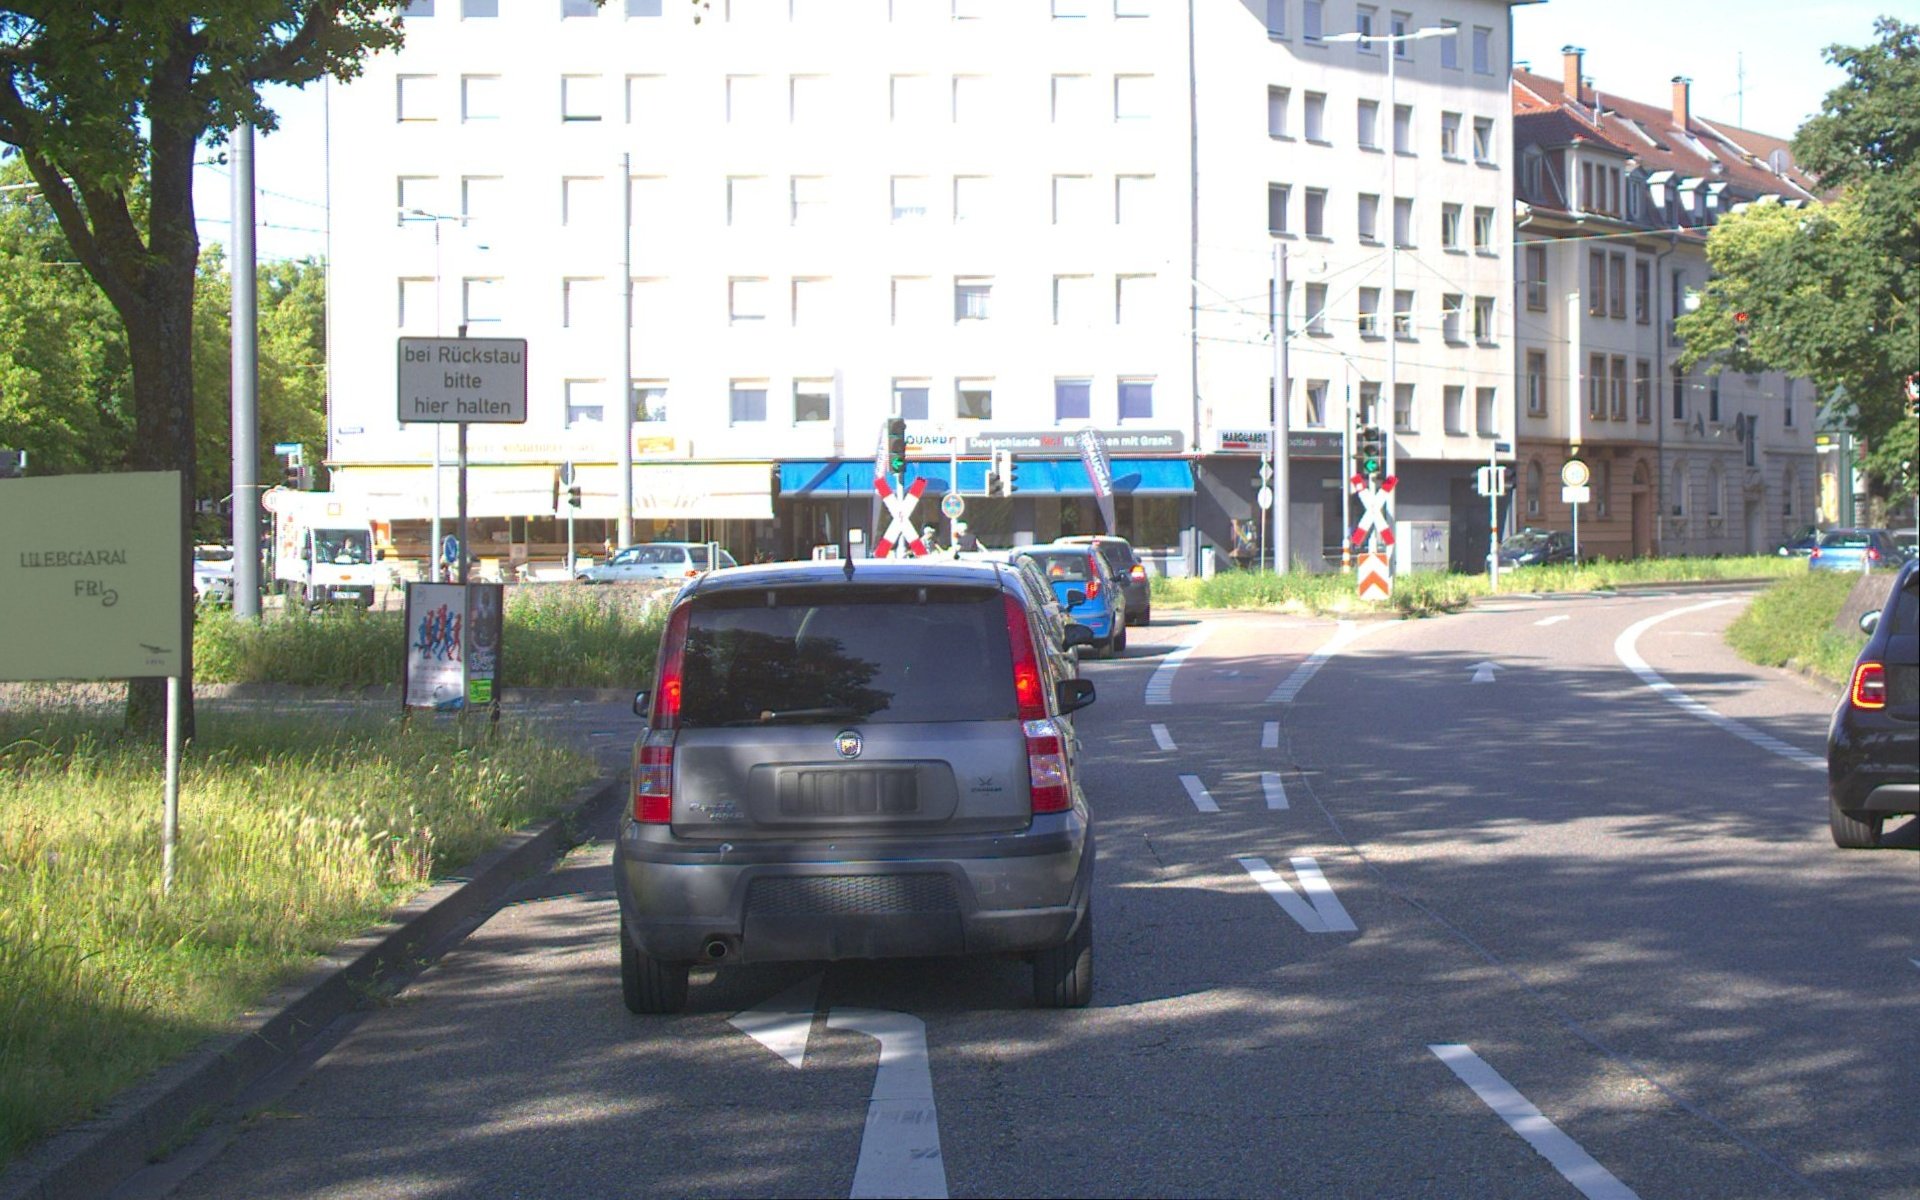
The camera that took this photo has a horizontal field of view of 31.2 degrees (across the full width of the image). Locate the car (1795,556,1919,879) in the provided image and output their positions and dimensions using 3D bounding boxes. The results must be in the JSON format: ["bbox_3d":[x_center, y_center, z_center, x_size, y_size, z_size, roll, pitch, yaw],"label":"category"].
[{"bbox_3d":[5.311,0.535,17.955,1.675,1.498,3.560,0,1,11],"label":"car"}]

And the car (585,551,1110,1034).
[{"bbox_3d":[-0.345,0.589,12.544,1.660,1.505,3.251,0,1,0],"label":"car"}]

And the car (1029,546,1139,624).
[{"bbox_3d":[2.019,-0.251,56.706,1.690,1.249,3.626,0,0,0],"label":"car"}]

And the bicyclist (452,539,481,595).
[{"bbox_3d":[-11.905,-0.802,82.943,0.595,1.352,0.532,-1,1,-17],"label":"bicyclist"}]

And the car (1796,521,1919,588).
[{"bbox_3d":[20.283,-1.036,77.469,1.778,1.437,3.612,1,2,31],"label":"car"}]

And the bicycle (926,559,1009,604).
[{"bbox_3d":[0.159,-0.399,73.879,0.783,0.948,1.856,1,0,-38],"label":"bicycle"}]

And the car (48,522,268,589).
[{"bbox_3d":[-17.598,-0.976,75.490,4.389,1.443,1.668,0,1,10],"label":"car"}]

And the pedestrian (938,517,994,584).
[{"bbox_3d":[0.127,-1.061,73.950,0.774,1.423,0.938,1,0,-37],"label":"pedestrian"}]

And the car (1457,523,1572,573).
[{"bbox_3d":[15.672,-1.484,97.054,1.794,1.391,3.718,1,1,34],"label":"car"}]

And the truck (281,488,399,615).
[{"bbox_3d":[-12.236,-0.967,67.661,1.787,2.418,4.111,0,1,-17],"label":"truck"}]

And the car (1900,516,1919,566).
[{"bbox_3d":[31.473,-1.864,108.232,1.904,1.588,4.001,-1,1,-14],"label":"car"}]

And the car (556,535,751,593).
[{"bbox_3d":[-6.852,-0.821,76.703,3.995,1.238,1.996,1,1,35],"label":"car"}]

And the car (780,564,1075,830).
[{"bbox_3d":[-0.221,0.517,20.844,1.621,1.424,3.689,0,1,-1],"label":"car"}]

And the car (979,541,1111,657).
[{"bbox_3d":[1.109,-0.044,44.902,1.646,1.433,3.396,0,1,1],"label":"car"}]

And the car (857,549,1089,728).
[{"bbox_3d":[0.188,0.294,31.013,1.760,1.481,4.293,0,1,5],"label":"car"}]

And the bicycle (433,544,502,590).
[{"bbox_3d":[-11.887,-0.802,82.966,1.579,1.086,0.532,-1,1,-17],"label":"bicycle"}]

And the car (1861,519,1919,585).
[{"bbox_3d":[22.933,-1.153,81.628,1.823,1.503,3.993,0,2,32],"label":"car"}]
